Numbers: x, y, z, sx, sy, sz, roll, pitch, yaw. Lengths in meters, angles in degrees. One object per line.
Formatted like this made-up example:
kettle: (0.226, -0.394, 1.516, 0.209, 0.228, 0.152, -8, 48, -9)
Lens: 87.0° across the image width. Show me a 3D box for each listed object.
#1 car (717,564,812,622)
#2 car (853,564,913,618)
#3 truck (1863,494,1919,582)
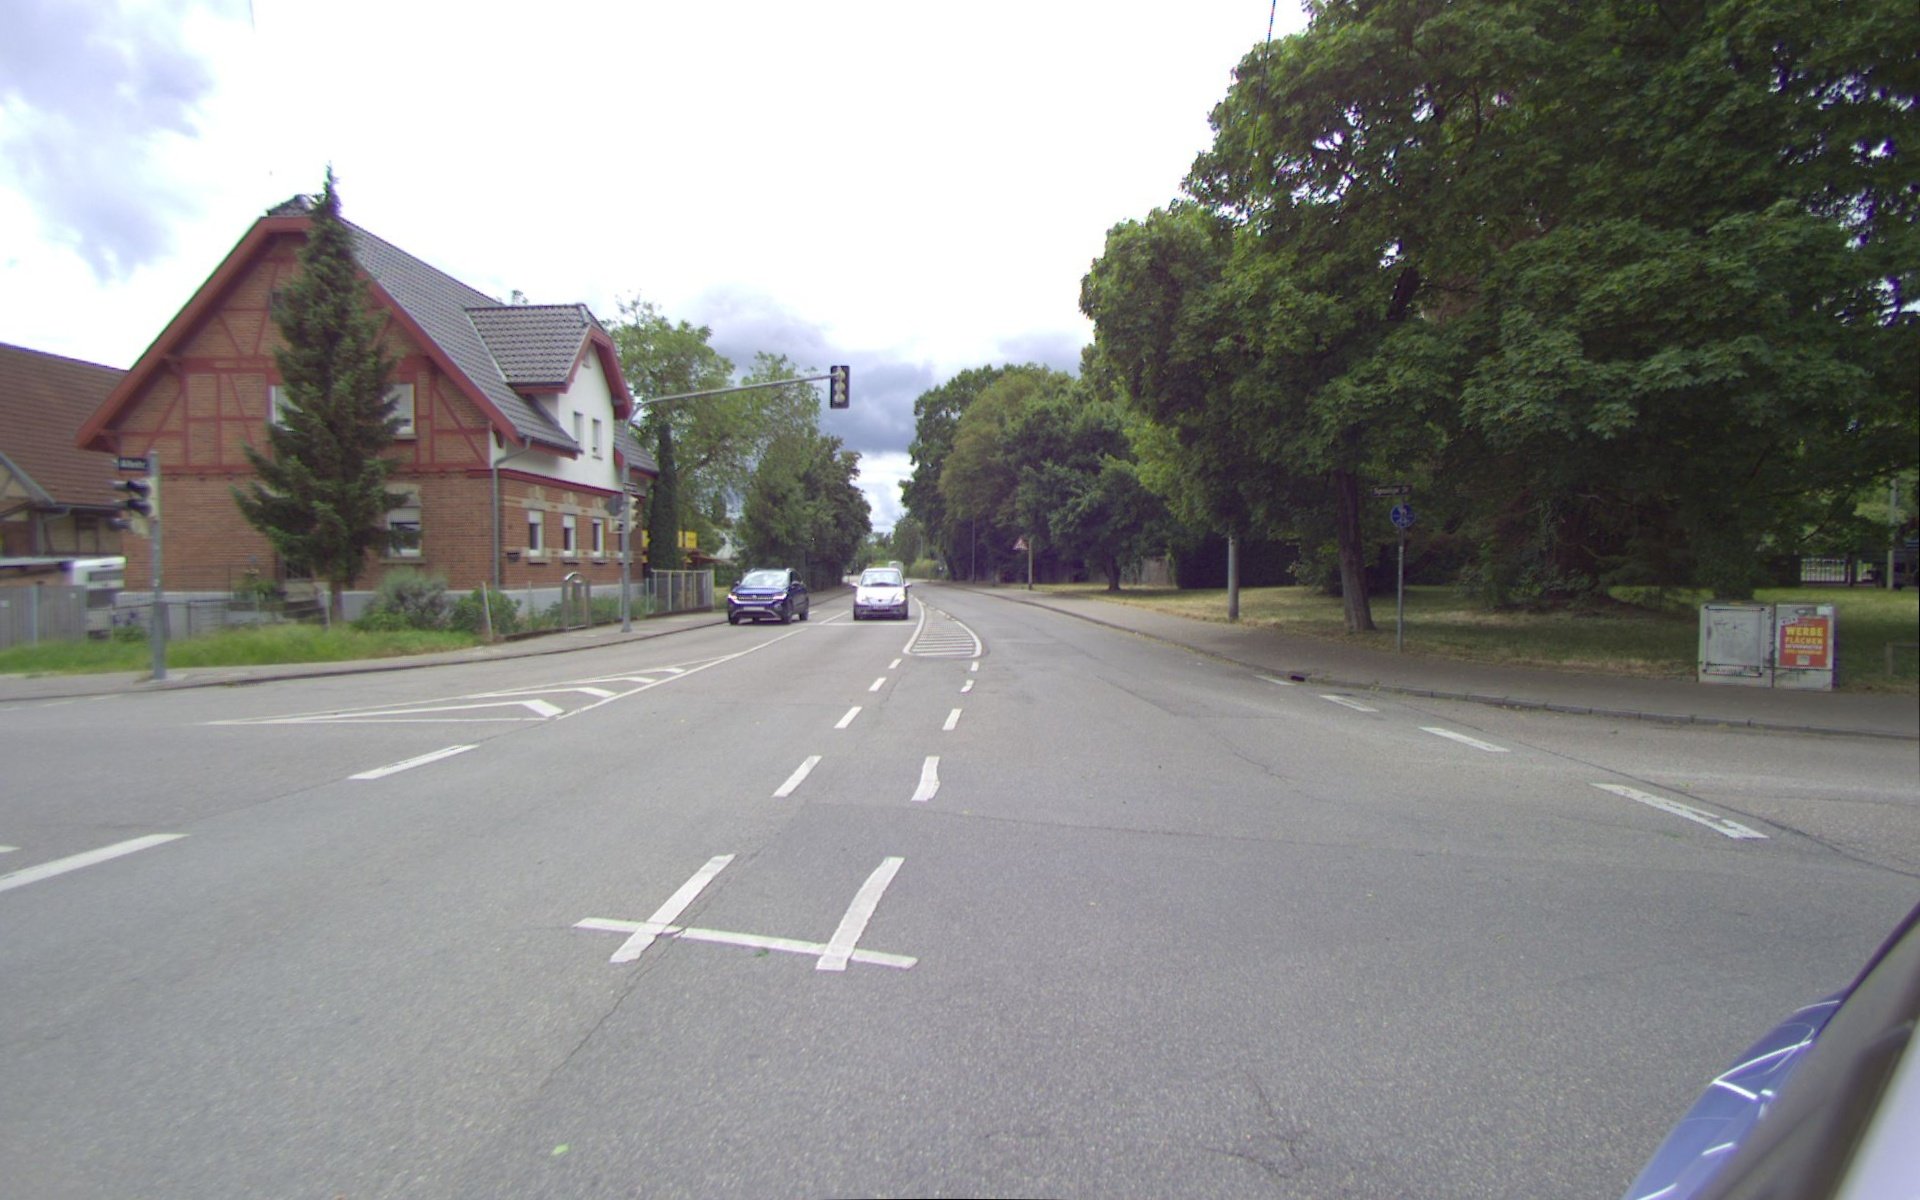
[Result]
car: (-5.581, -0.255, 29.417, 1.892, 1.537, 4.000, -1, 2, 2)
car: (-2.445, -0.344, 31.914, 1.746, 1.537, 3.563, -2, 2, -5)
truck: (32.868, -2.047, 33.452, 2.457, 2.882, 7.370, 1, 2, 26)
